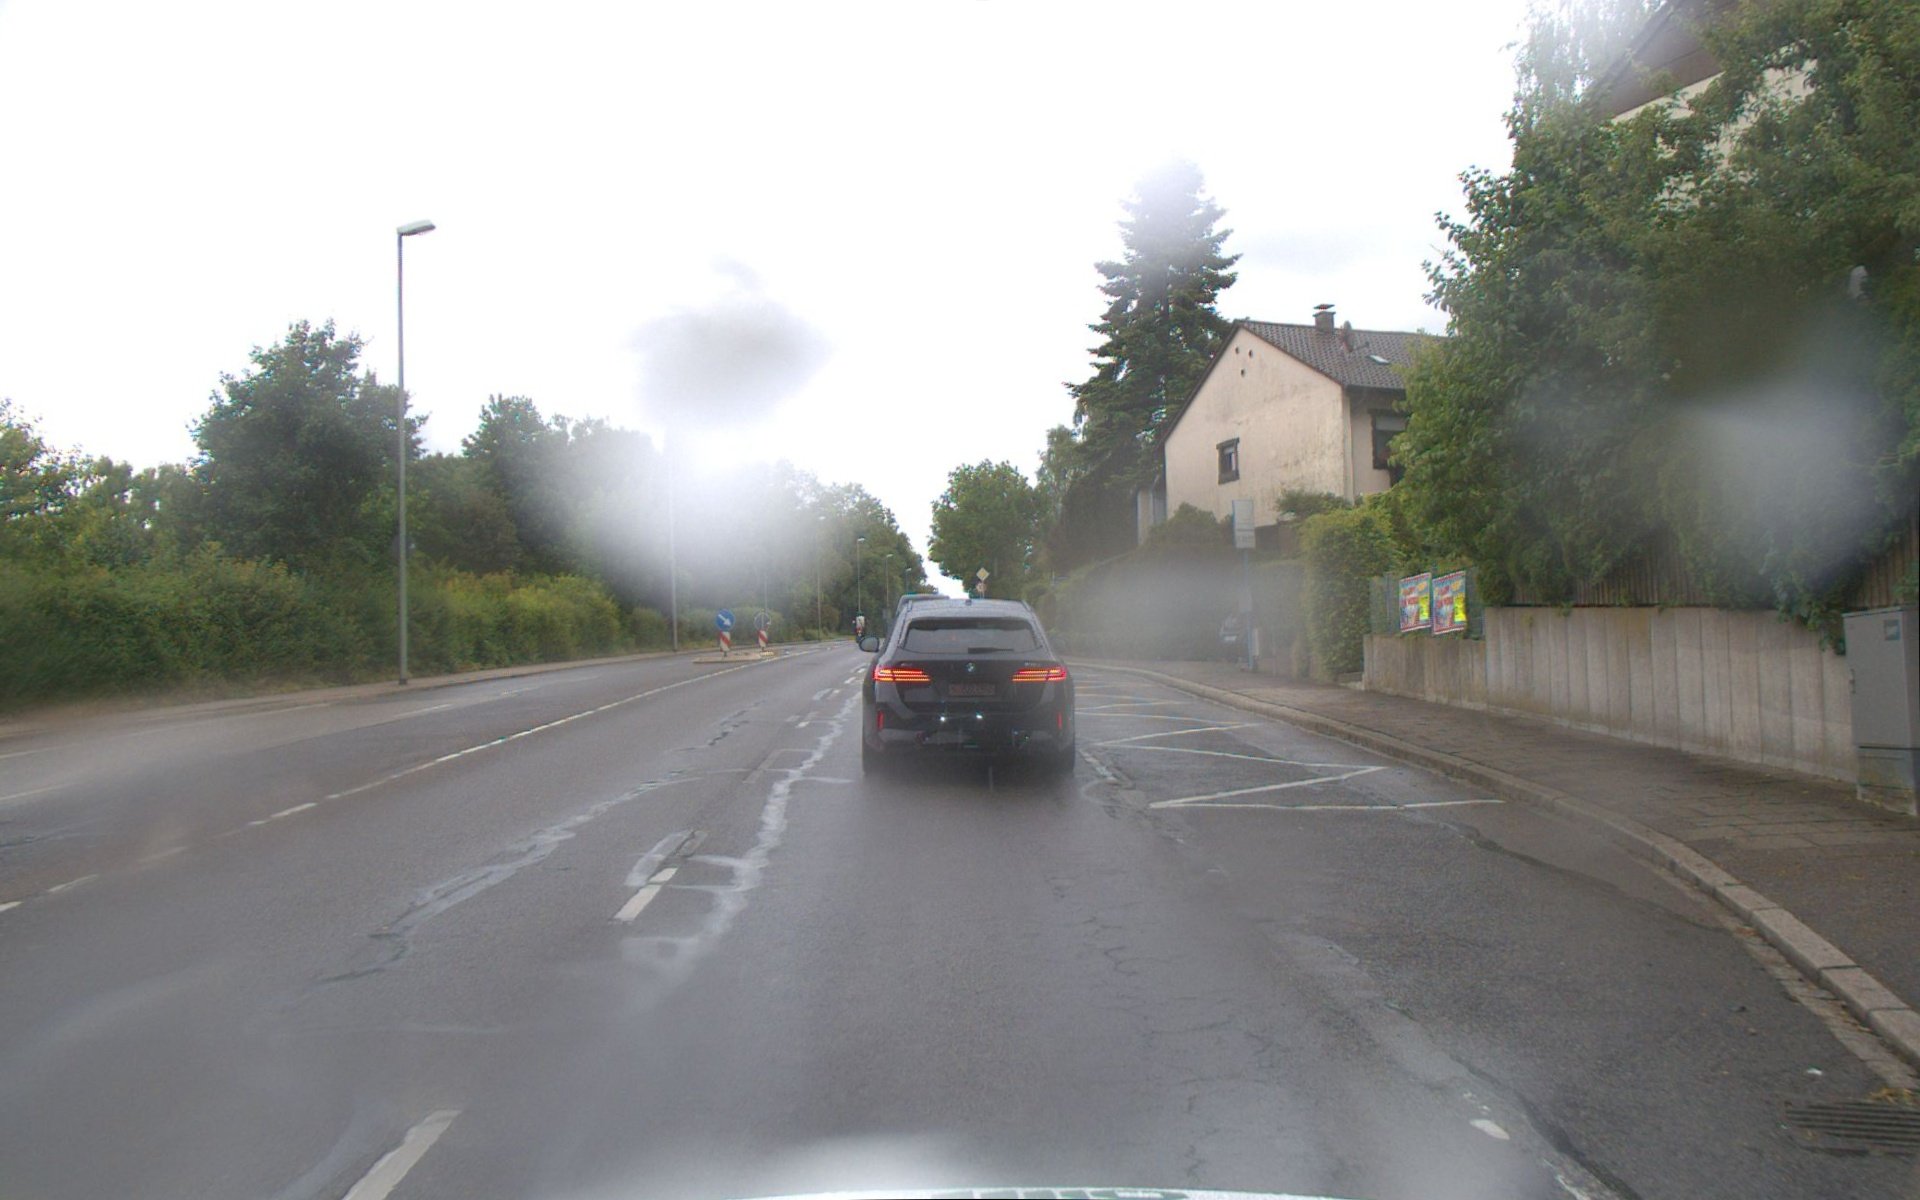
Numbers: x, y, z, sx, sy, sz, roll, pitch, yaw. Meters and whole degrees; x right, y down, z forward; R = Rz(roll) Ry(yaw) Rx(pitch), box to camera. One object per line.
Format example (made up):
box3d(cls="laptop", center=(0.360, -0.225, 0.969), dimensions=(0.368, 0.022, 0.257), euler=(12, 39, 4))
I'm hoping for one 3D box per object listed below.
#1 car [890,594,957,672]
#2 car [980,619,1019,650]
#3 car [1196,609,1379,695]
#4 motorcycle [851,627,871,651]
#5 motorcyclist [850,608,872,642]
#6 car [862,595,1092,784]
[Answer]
box3d(cls="car", center=(-0.940, 0.827, 42.840), dimensions=(1.596, 1.865, 3.999), euler=(-2, 0, -1))
box3d(cls="car", center=(2.011, 1.764, 84.786), dimensions=(1.895, 1.467, 4.408), euler=(-2, -1, 1))
box3d(cls="car", center=(7.432, 1.217, 37.557), dimensions=(3.647, 1.320, 1.761), euler=(11, -6, -21))
box3d(cls="motorcycle", center=(-4.784, 1.904, 80.417), dimensions=(0.858, 1.144, 2.740), euler=(0, -1, -1))
box3d(cls="motorcyclist", center=(-4.797, 1.222, 80.466), dimensions=(1.018, 1.595, 0.855), euler=(0, -1, -2))
box3d(cls="car", center=(0.132, 0.756, 15.420), dimensions=(1.858, 1.515, 3.999), euler=(1, -1, 0))
